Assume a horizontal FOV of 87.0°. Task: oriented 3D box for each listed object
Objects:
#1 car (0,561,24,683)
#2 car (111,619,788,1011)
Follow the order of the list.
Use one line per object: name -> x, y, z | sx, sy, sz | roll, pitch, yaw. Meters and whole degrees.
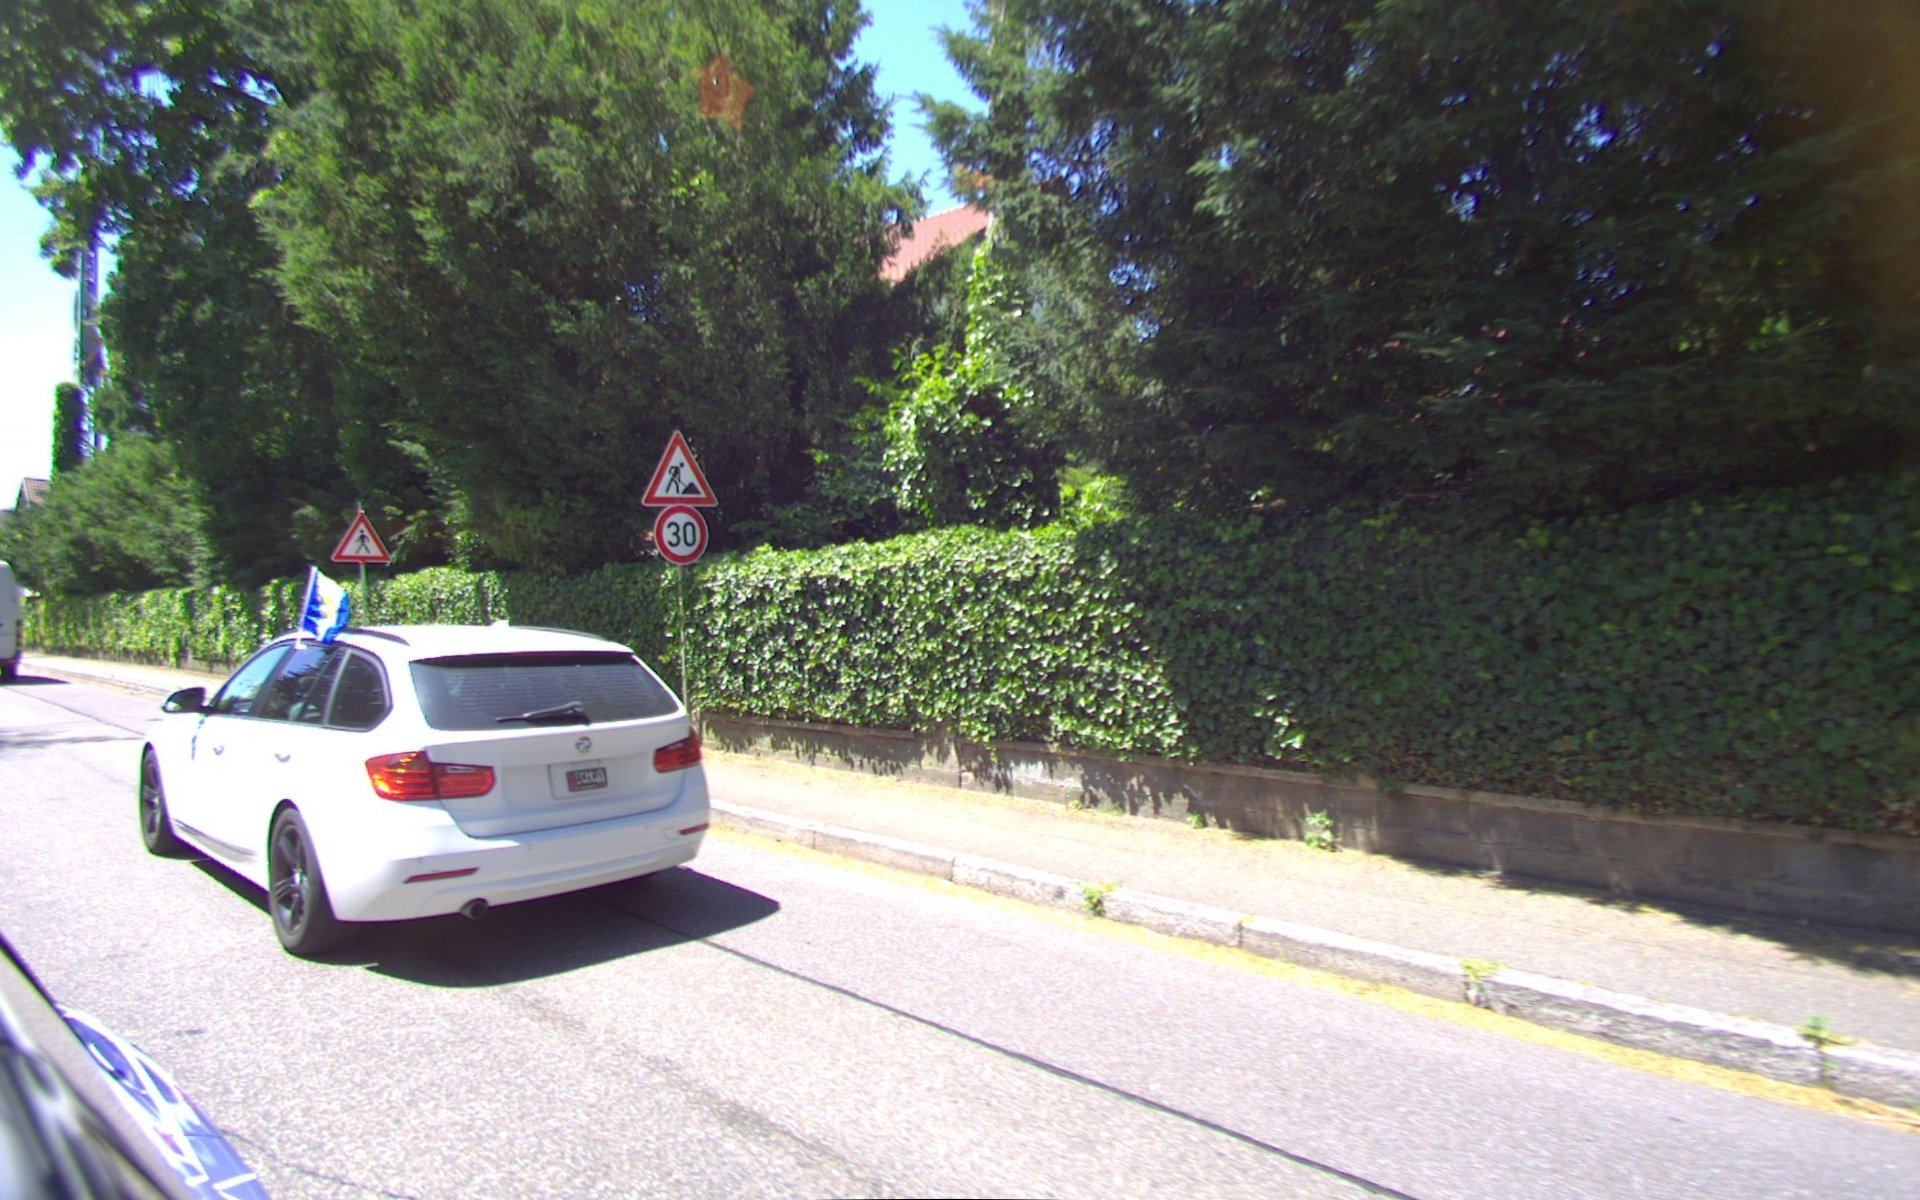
car -> -22.808, 0.497, 22.670 | 5.890, 2.552, 1.973 | -1, -2, 40
car -> -3.200, 0.832, 5.832 | 4.601, 1.394, 1.845 | -1, -3, 41
